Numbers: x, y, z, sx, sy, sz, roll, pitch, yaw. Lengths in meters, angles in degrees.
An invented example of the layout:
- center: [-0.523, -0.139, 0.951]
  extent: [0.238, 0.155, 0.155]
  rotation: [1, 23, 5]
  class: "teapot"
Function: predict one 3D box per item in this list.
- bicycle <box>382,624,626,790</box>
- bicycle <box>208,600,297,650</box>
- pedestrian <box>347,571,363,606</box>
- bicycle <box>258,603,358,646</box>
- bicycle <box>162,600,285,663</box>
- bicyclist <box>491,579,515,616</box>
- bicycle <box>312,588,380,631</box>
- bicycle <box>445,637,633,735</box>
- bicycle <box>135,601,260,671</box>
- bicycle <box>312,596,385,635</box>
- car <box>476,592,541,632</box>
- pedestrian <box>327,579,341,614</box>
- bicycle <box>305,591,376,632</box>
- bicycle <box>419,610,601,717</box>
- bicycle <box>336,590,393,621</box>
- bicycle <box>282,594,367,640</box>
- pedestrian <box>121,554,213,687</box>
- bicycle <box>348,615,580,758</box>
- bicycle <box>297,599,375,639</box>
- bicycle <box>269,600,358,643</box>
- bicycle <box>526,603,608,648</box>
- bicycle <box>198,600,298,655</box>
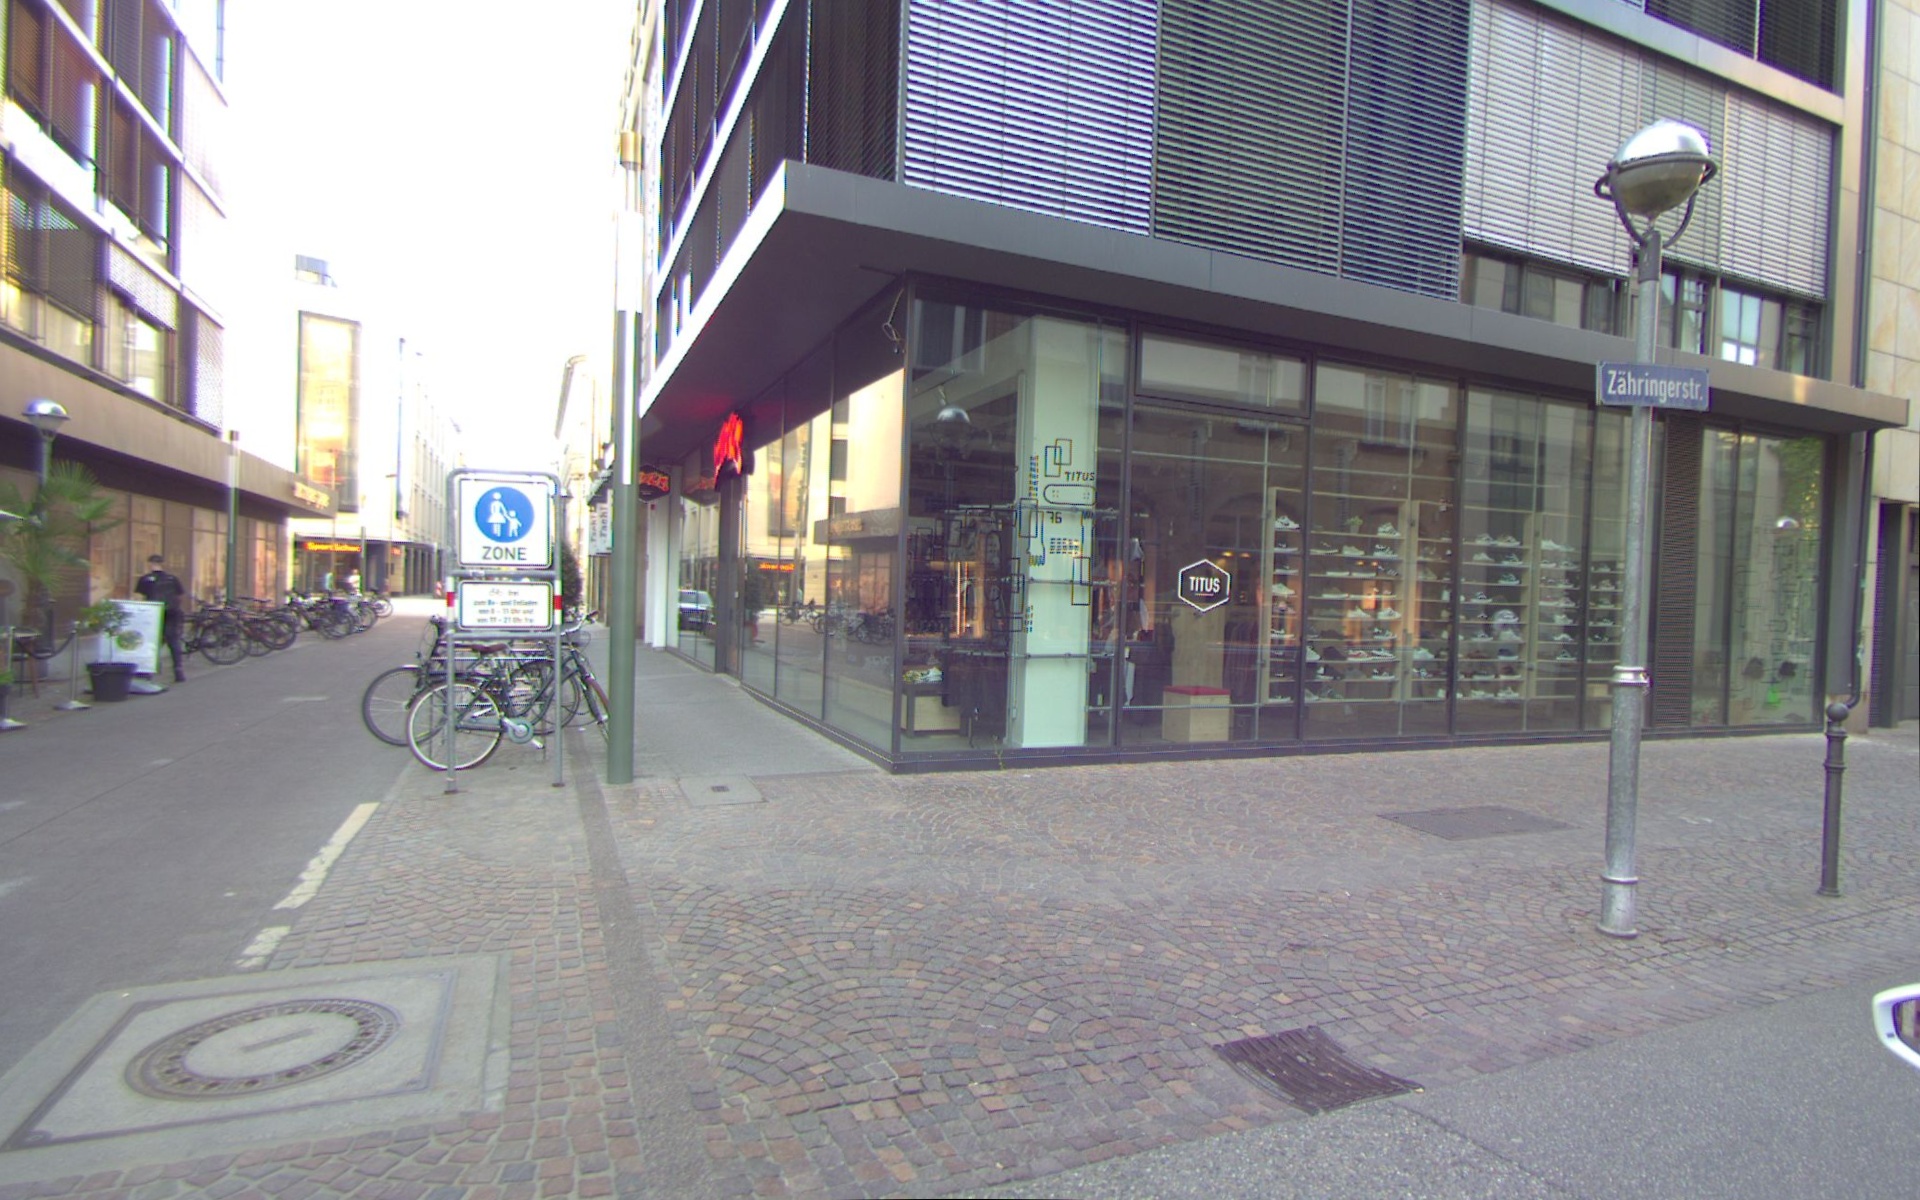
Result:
- center: [-3.504, 0.779, 7.824]
  extent: [1.651, 1.128, 0.705]
  rotation: [0, 1, -25]
  class: "bicycle"
- center: [-14.691, 0.519, 20.901]
  extent: [1.436, 1.019, 0.463]
  rotation: [1, 1, -25]
  class: "bicycle"
- center: [-28.228, -0.524, 46.856]
  extent: [0.372, 1.594, 0.478]
  rotation: [2, 1, 15]
  class: "pedestrian"
- center: [-15.437, 0.589, 23.828]
  extent: [1.919, 0.970, 0.463]
  rotation: [1, 1, -25]
  class: "bicycle"
- center: [-13.296, 0.570, 18.190]
  extent: [1.705, 1.106, 0.545]
  rotation: [1, 1, -25]
  class: "bicycle"
- center: [-18.579, -0.112, 40.862]
  extent: [0.563, 1.467, 0.737]
  rotation: [1, 1, 11]
  class: "bicyclist"
- center: [-18.591, 0.293, 30.450]
  extent: [1.710, 1.245, 0.463]
  rotation: [1, 1, -25]
  class: "bicycle"
- center: [-4.362, 0.873, 10.476]
  extent: [1.769, 0.907, 0.451]
  rotation: [0, 1, -25]
  class: "bicycle"
- center: [-12.407, 0.583, 16.392]
  extent: [1.522, 1.099, 0.545]
  rotation: [1, 1, -25]
  class: "bicycle"
- center: [-17.377, 0.441, 28.560]
  extent: [1.710, 1.065, 0.463]
  rotation: [1, 1, -25]
  class: "bicycle"
- center: [-15.061, 0.365, 33.642]
  extent: [1.603, 1.238, 3.472]
  rotation: [1, 0, -19]
  class: "car"
- center: [-28.700, -0.173, 46.024]
  extent: [0.474, 1.573, 0.430]
  rotation: [1, 1, -40]
  class: "pedestrian"
- center: [-18.246, 0.351, 29.603]
  extent: [1.710, 1.161, 0.463]
  rotation: [1, 1, -25]
  class: "bicycle"
- center: [-5.205, 0.706, 11.696]
  extent: [1.885, 1.160, 0.553]
  rotation: [0, 1, -25]
  class: "bicycle"
- center: [-21.261, 0.211, 35.894]
  extent: [1.710, 1.076, 0.434]
  rotation: [1, 1, -25]
  class: "bicycle"
- center: [-16.572, 0.440, 26.238]
  extent: [1.824, 1.151, 0.463]
  rotation: [1, 1, -25]
  class: "bicycle"
- center: [-11.255, 0.271, 14.262]
  extent: [0.952, 1.809, 0.738]
  rotation: [2, 1, 32]
  class: "pedestrian"
- center: [-4.422, 0.733, 9.080]
  extent: [1.816, 1.165, 0.606]
  rotation: [0, 1, -25]
  class: "bicycle"
- center: [-17.032, 0.515, 27.442]
  extent: [1.753, 1.065, 0.463]
  rotation: [1, 1, -25]
  class: "bicycle"
- center: [-16.005, 0.526, 24.896]
  extent: [1.771, 1.021, 0.528]
  rotation: [1, 1, -25]
  class: "bicycle"
- center: [-9.276, 0.592, 23.723]
  extent: [1.769, 1.028, 0.365]
  rotation: [0, 1, -25]
  class: "bicycle"
- center: [-14.009, 0.550, 19.802]
  extent: [1.535, 1.051, 0.463]
  rotation: [1, 1, -25]
  class: "bicycle"
